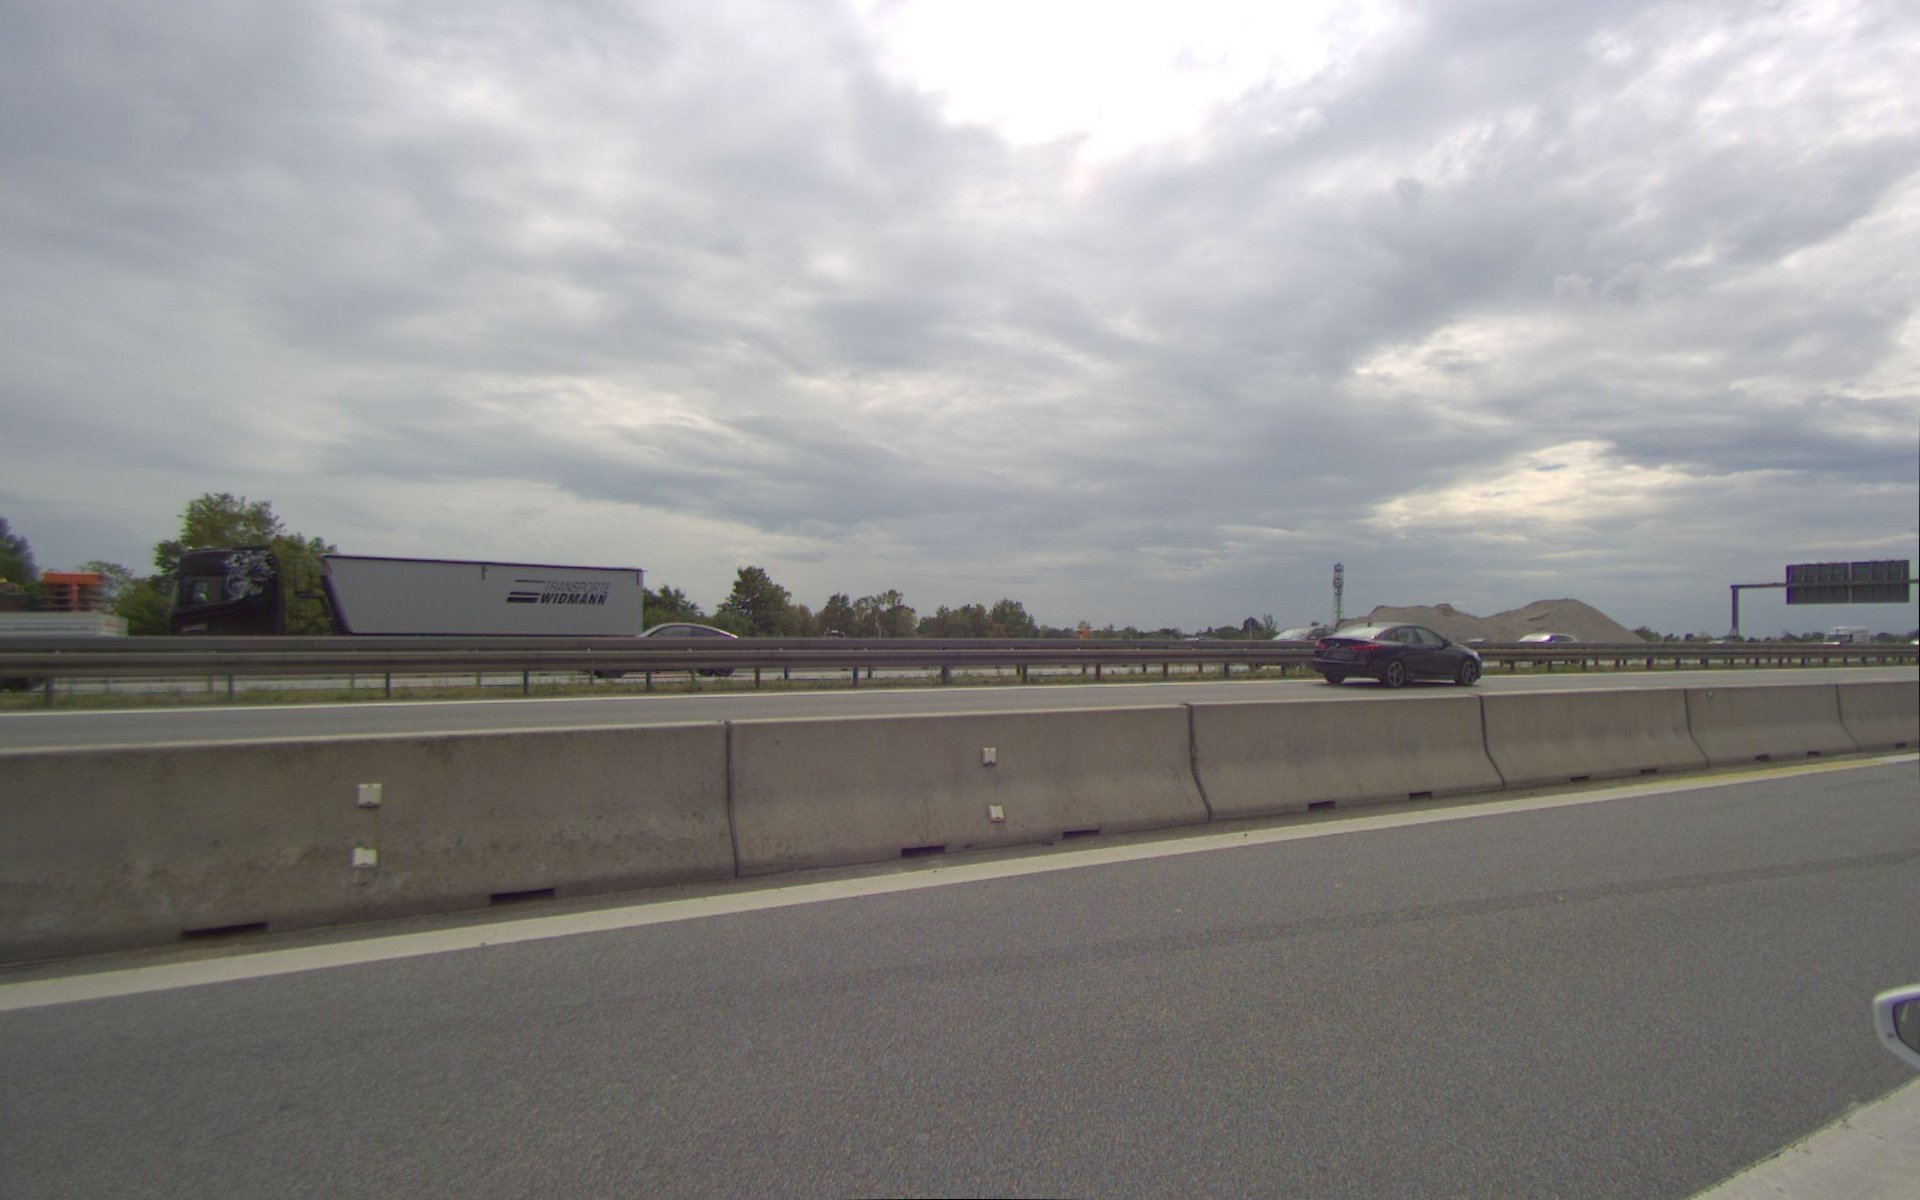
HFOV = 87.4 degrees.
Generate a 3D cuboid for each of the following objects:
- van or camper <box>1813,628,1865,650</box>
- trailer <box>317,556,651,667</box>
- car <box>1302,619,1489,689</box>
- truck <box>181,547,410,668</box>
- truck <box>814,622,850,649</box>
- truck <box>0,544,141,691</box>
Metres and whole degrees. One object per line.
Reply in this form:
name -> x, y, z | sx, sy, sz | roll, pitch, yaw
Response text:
van or camper -> 85.906, 3.801, 98.163 | 6.209, 2.040, 2.223 | 1, -1, -32
trailer -> -15.674, 0.450, 33.660 | 9.714, 3.313, 3.181 | 2, -1, -32
car -> 10.113, 1.220, 23.270 | 4.332, 1.469, 1.764 | 2, -1, -30
truck -> -20.150, 0.280, 30.836 | 5.559, 3.374, 3.133 | 1, -1, -32
truck -> -14.220, 3.869, 110.706 | 2.867, 2.810, 8.756 | 1, -1, -14
truck -> -17.761, 0.257, 16.651 | 6.127, 2.401, 2.266 | 1, -1, -30
